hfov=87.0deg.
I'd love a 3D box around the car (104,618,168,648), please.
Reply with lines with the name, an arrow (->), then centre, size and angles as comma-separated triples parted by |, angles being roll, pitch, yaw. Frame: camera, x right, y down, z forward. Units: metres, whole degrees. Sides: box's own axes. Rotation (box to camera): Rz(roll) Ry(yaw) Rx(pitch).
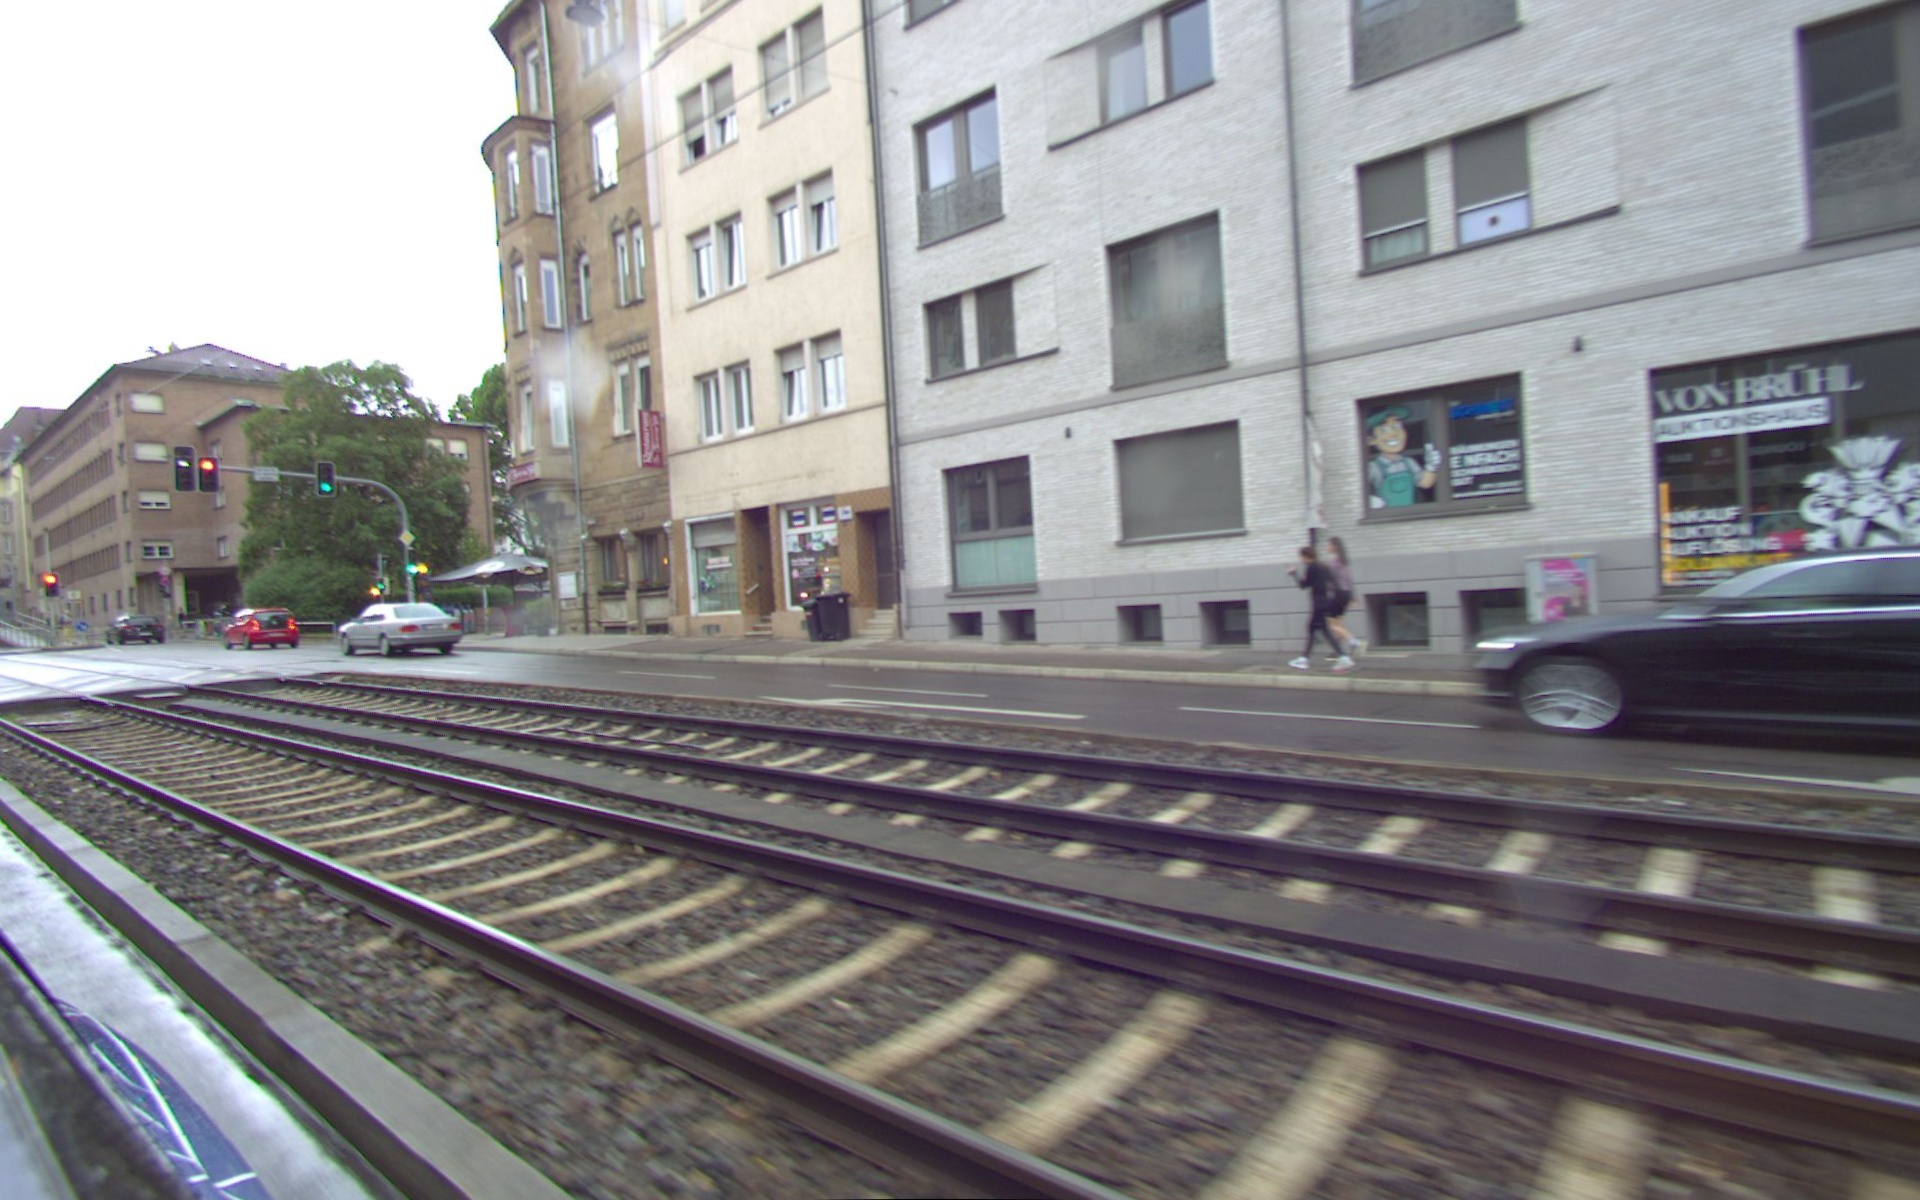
car -> -40.575, 1.621, 49.832 | 3.943, 1.346, 1.759 | -2, 0, 41

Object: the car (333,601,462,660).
car -> -15.818, 0.827, 28.354 | 4.641, 1.472, 1.695 | -2, 0, 41

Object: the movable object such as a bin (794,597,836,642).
movable object such as a bin -> -3.232, 0.432, 22.588 | 0.563, 0.934, 0.623 | -2, 5, 40

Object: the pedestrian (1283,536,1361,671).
pedestrian -> 4.876, 0.040, 13.639 | 0.746, 1.731, 0.595 | -2, 3, 43

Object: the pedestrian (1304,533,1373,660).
pedestrian -> 5.330, -0.052, 14.266 | 0.658, 1.731, 0.595 | -2, 3, 43

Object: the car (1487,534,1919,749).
car -> 7.030, 0.276, 7.833 | 4.859, 1.468, 2.066 | -2, 0, 43

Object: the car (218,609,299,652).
car -> -25.733, 1.112, 37.089 | 3.385, 1.461, 1.610 | -2, 0, 41

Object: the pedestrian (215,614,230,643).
pedestrian -> -44.239, 1.718, 60.725 | 0.464, 1.760, 0.616 | -2, -2, 37

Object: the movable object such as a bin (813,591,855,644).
movable object such as a bin -> -2.757, 0.375, 22.153 | 0.563, 1.088, 0.623 | -2, 5, 40
